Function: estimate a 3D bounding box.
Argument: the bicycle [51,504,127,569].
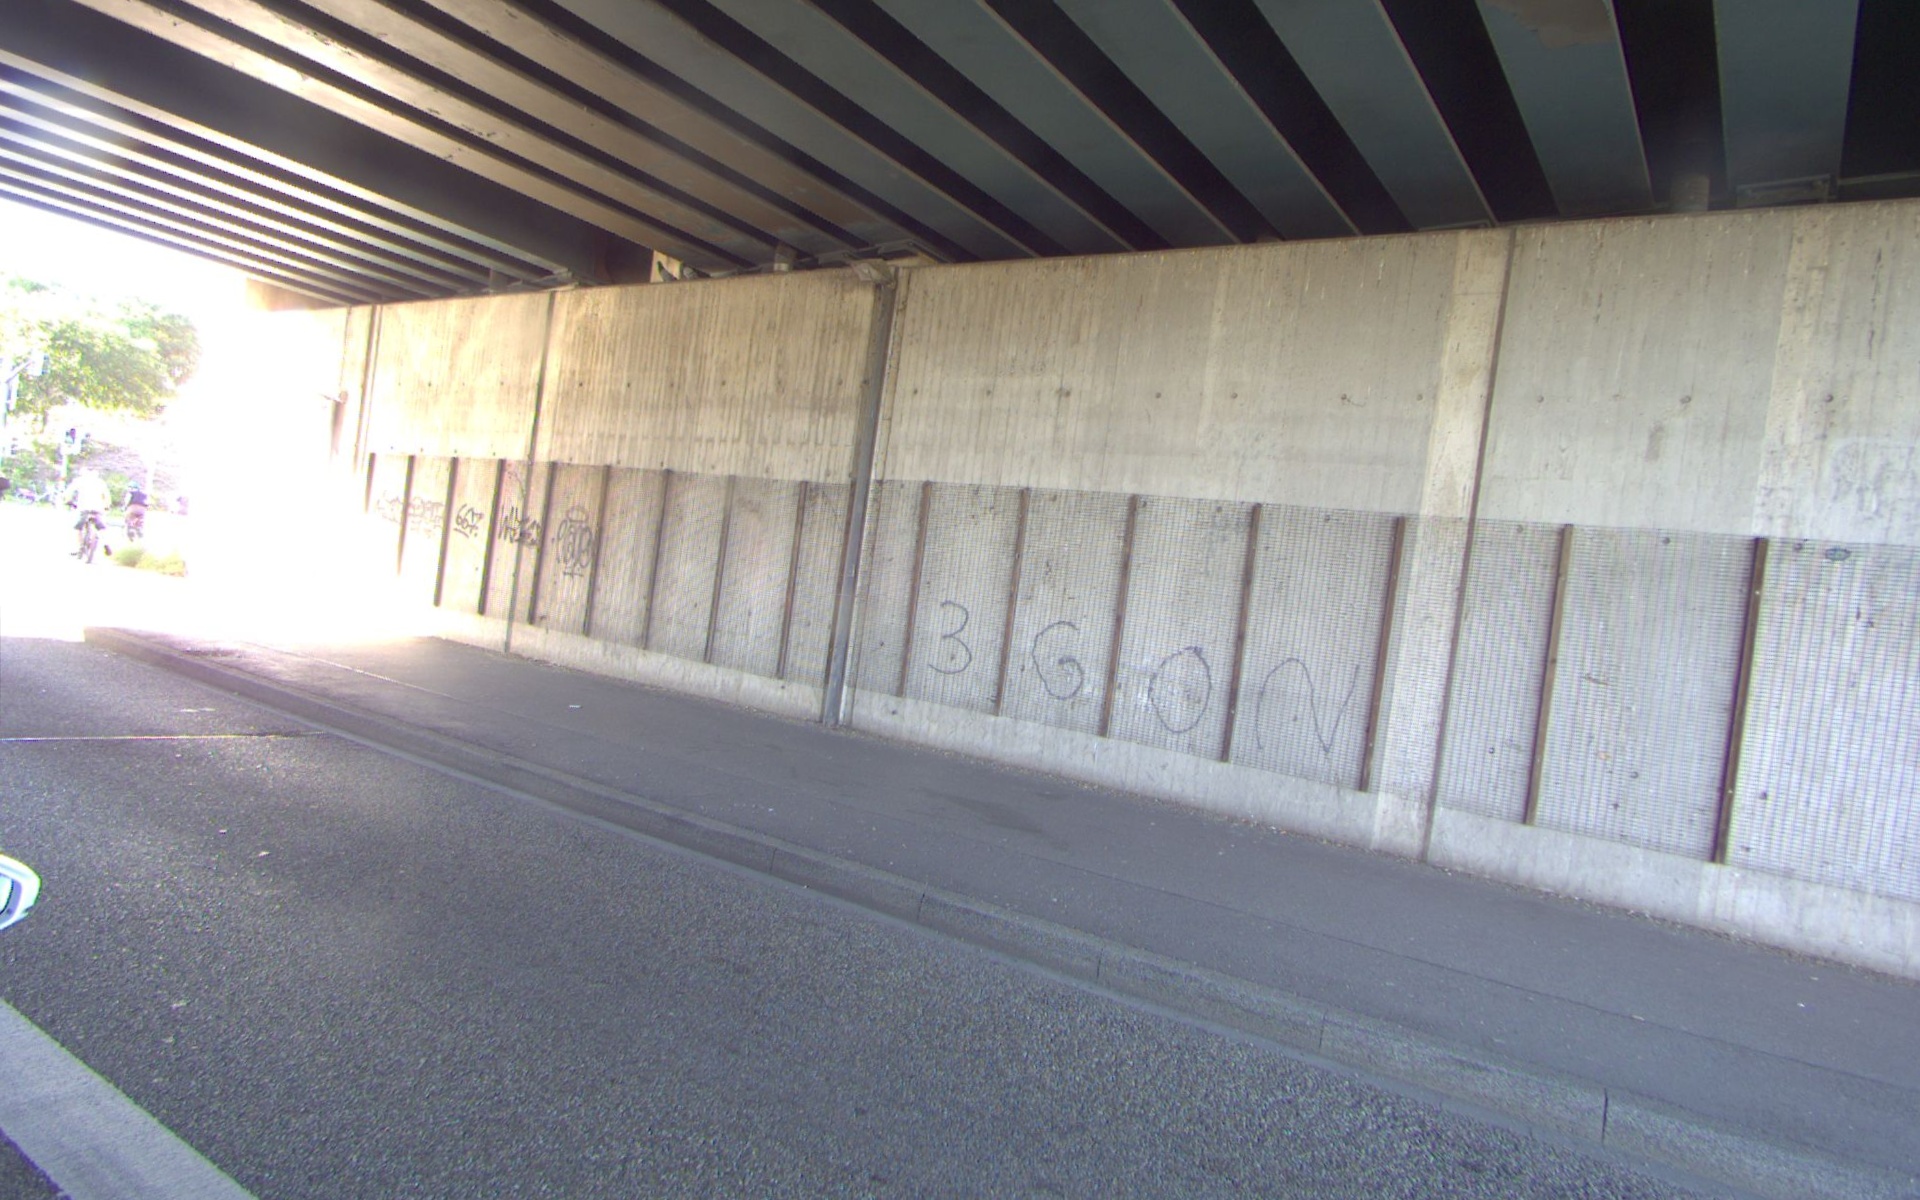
[{"bbox_3d":[-16.011,-1.181,18.485,1.723,1.035,0.592,6,-2,36],"label":"bicycle"}]

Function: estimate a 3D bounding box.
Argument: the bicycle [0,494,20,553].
[{"bbox_3d":[-18.144,-1.485,18.668,1.723,1.035,0.592,6,-1,35],"label":"bicycle"}]

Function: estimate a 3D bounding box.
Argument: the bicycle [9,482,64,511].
[{"bbox_3d":[-42.954,-4.798,46.813,0.585,1.035,1.744,6,-2,40],"label":"bicycle"}]

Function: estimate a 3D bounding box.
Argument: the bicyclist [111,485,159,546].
[{"bbox_3d":[-21.750,-2.226,26.508,0.739,1.491,0.665,6,-1,35],"label":"bicyclist"}]

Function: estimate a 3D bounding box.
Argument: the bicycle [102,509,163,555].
[{"bbox_3d":[-21.830,-1.794,26.522,2.024,1.035,0.672,6,-2,36],"label":"bicycle"}]

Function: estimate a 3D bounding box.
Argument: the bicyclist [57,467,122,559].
[{"bbox_3d":[-15.976,-1.594,18.467,0.757,1.566,0.592,6,-1,36],"label":"bicyclist"}]

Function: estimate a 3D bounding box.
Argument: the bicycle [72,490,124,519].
[{"bbox_3d":[-40.998,-4.524,47.864,0.586,1.035,1.743,6,-2,43],"label":"bicycle"}]

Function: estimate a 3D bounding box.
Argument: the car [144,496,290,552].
[{"bbox_3d":[-31.316,-3.184,42.508,1.801,1.531,4.548,6,-3,39],"label":"car"}]

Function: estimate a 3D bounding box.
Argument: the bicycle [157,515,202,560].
[{"bbox_3d":[-22.299,-1.790,28.727,1.726,1.036,0.666,10,1,44],"label":"bicycle"}]

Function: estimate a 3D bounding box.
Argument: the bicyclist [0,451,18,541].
[{"bbox_3d":[-18.160,-1.983,18.709,0.927,1.632,0.592,6,-1,35],"label":"bicyclist"}]

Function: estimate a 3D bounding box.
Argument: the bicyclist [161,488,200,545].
[{"bbox_3d":[-22.236,-2.371,28.707,0.610,1.499,0.648,8,0,43],"label":"bicyclist"}]
